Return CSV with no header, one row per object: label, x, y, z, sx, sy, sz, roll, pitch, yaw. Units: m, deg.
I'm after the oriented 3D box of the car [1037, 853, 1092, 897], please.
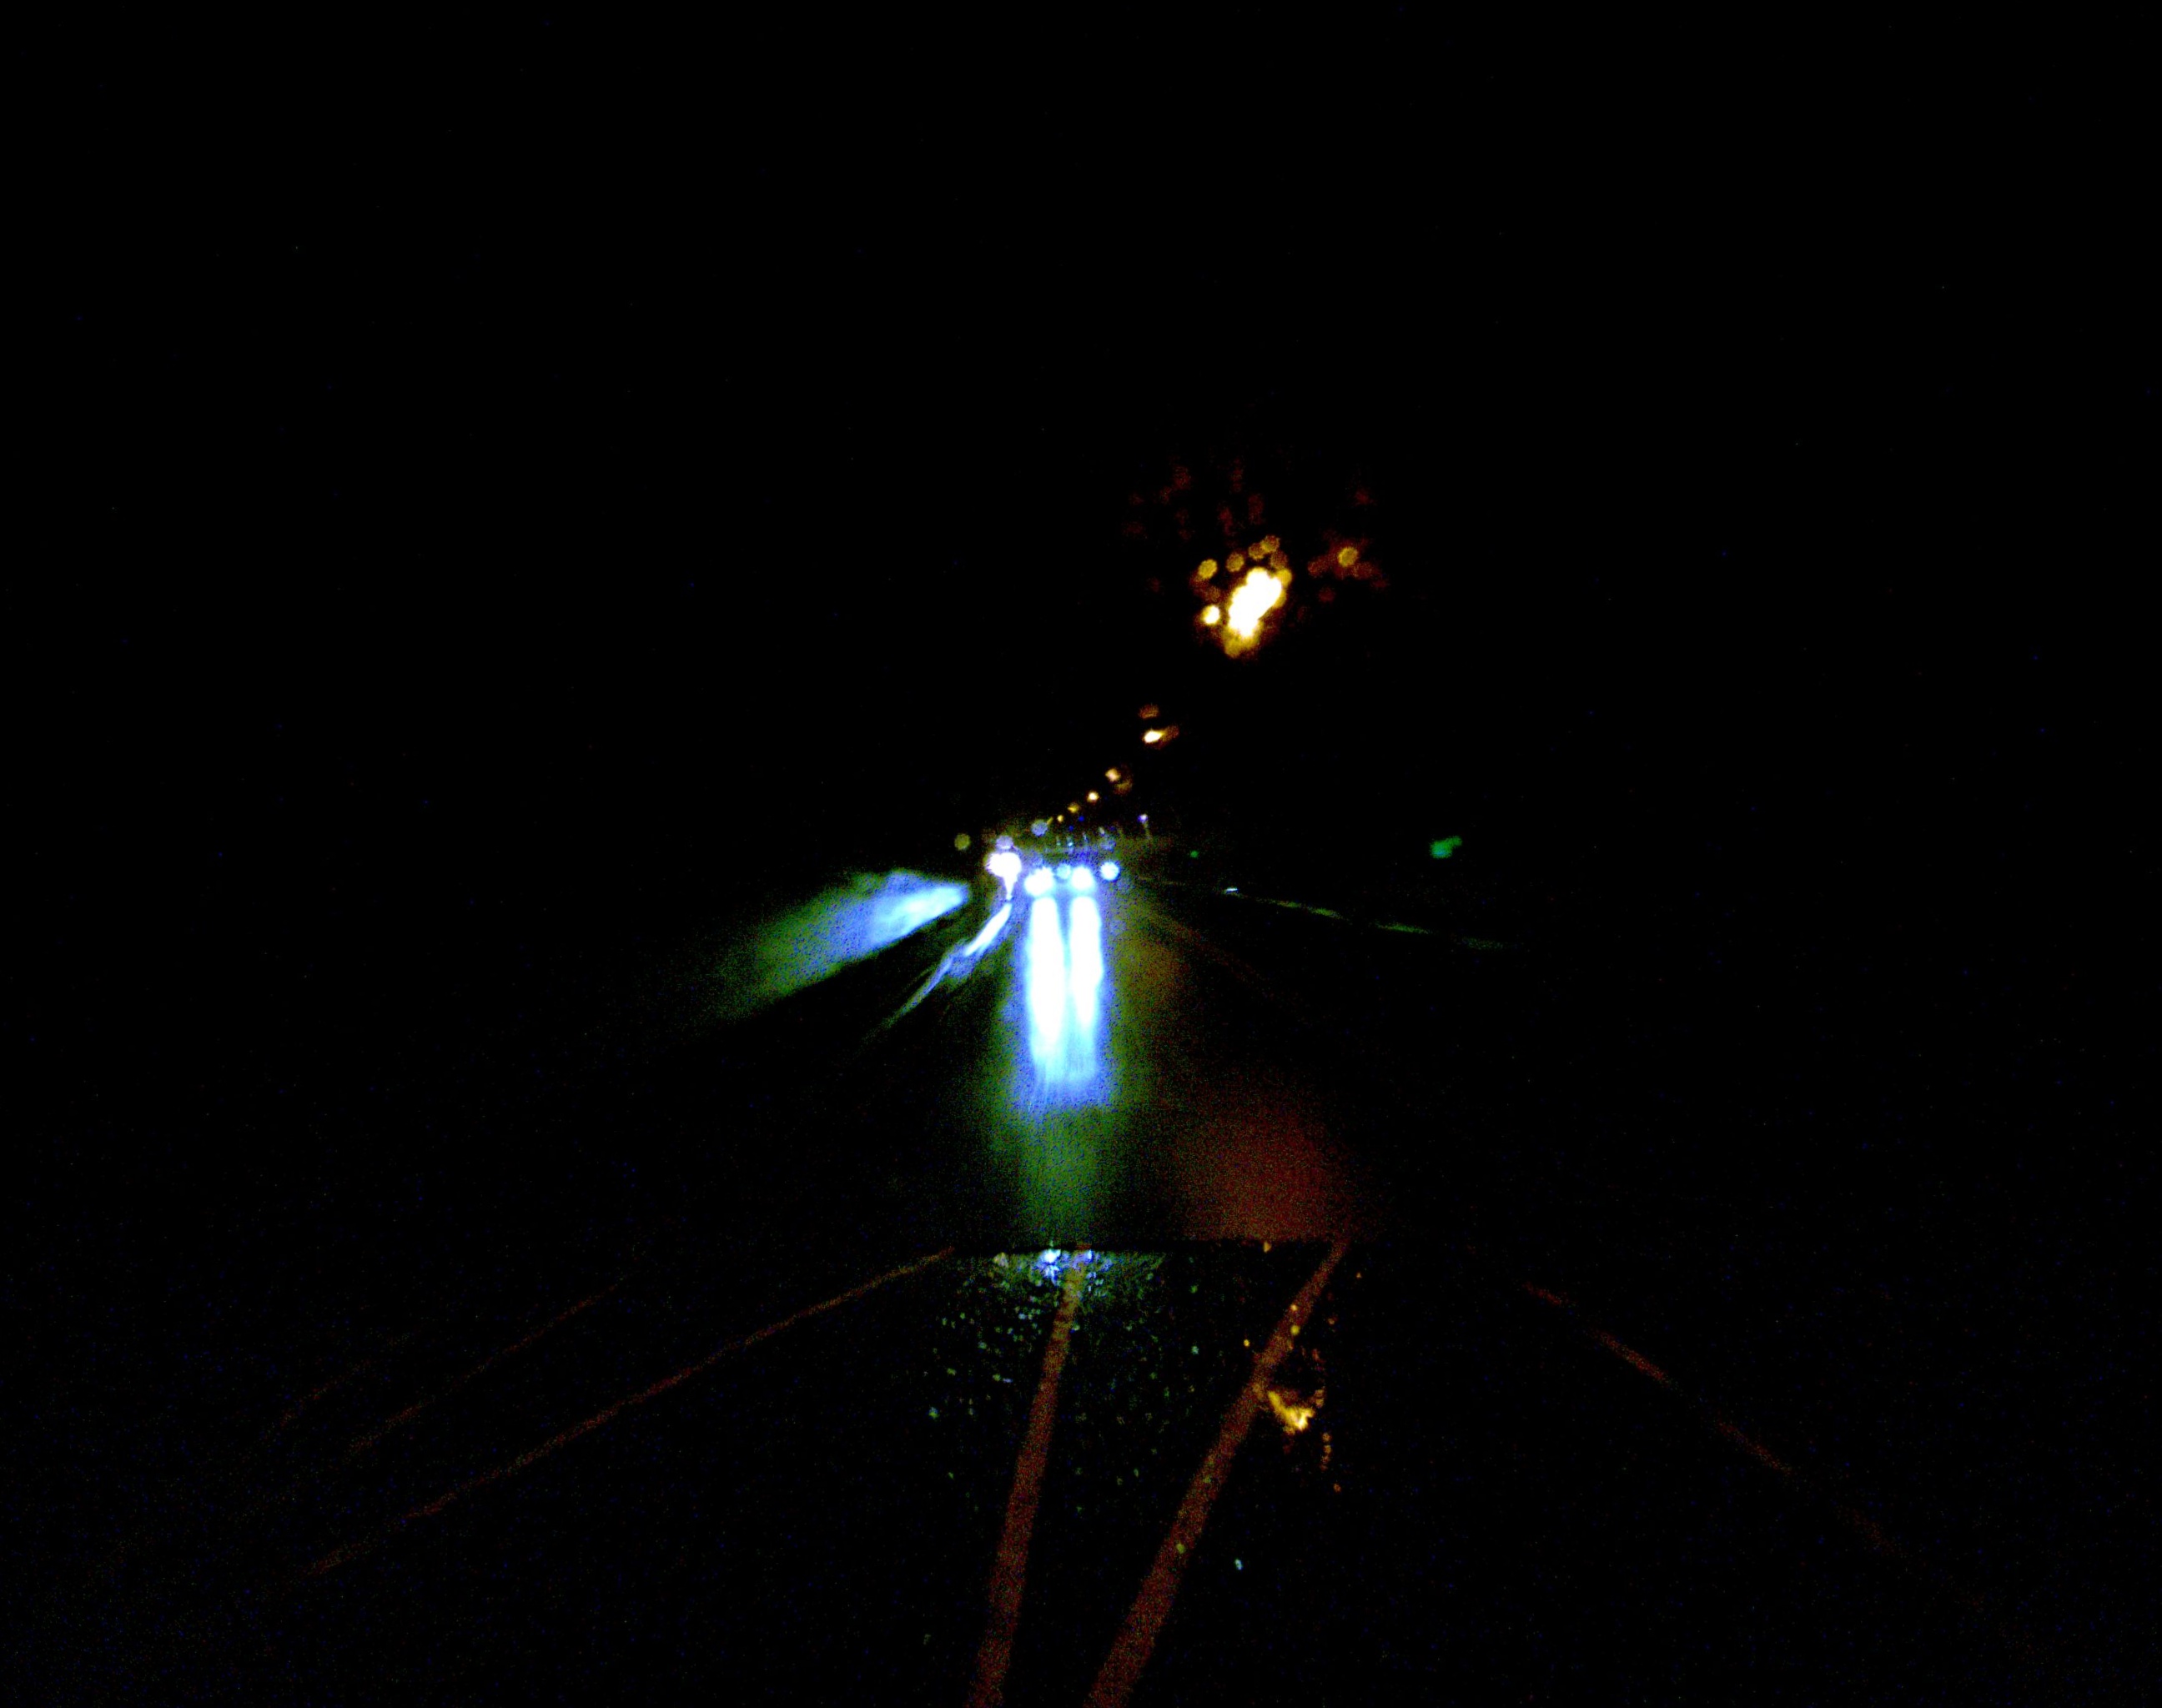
car,-0.723,0.777,30.498,1.999,1.547,3.998,-2,1,-3
